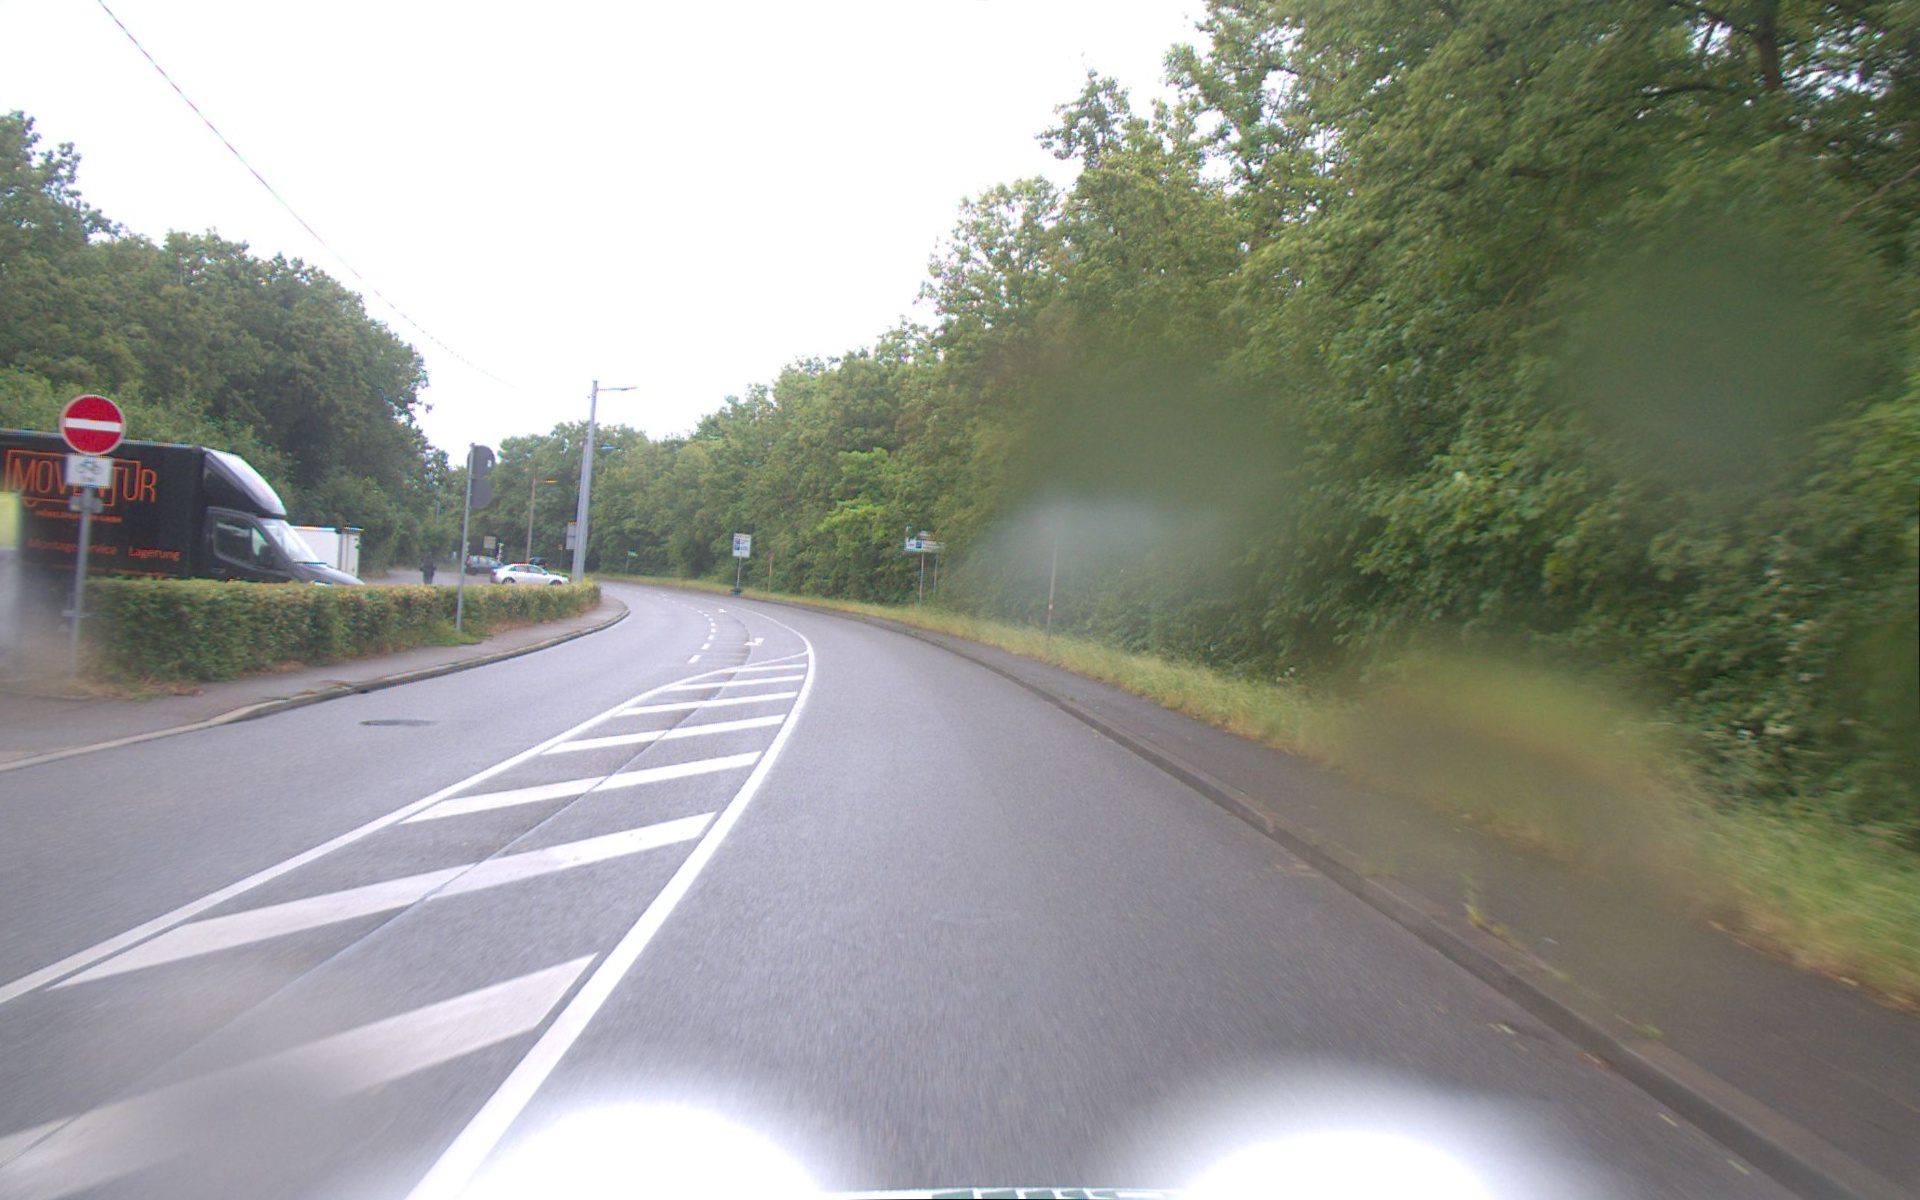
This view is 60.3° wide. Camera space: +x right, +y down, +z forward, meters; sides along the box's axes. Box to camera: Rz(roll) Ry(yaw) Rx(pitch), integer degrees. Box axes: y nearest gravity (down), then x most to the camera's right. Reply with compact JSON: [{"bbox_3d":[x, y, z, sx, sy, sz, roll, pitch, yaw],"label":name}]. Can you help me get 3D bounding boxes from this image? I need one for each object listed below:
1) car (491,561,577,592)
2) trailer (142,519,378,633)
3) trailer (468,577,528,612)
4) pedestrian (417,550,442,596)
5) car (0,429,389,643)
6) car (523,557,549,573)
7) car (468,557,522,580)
[{"bbox_3d":[-24.248,-1.337,94.234,4.510,1.532,1.988,3,0,-21],"label":"car"},{"bbox_3d":[-13.954,-0.466,33.161,3.910,2.088,1.870,2,0,-6],"label":"trailer"},{"bbox_3d":[-15.025,-0.190,53.825,1.770,1.052,1.330,2,0,-13],"label":"trailer"},{"bbox_3d":[-21.749,-1.117,67.798,0.803,1.829,1.132,2,0,-13],"label":"pedestrian"},{"bbox_3d":[-13.141,-1.008,27.783,6.156,3.168,2.746,2,-1,-9],"label":"car"},{"bbox_3d":[-46.580,-3.846,181.736,1.911,1.524,4.282,2,1,-26],"label":"car"},{"bbox_3d":[-38.804,-2.625,137.987,4.225,1.738,1.990,3,0,-18],"label":"car"}]
